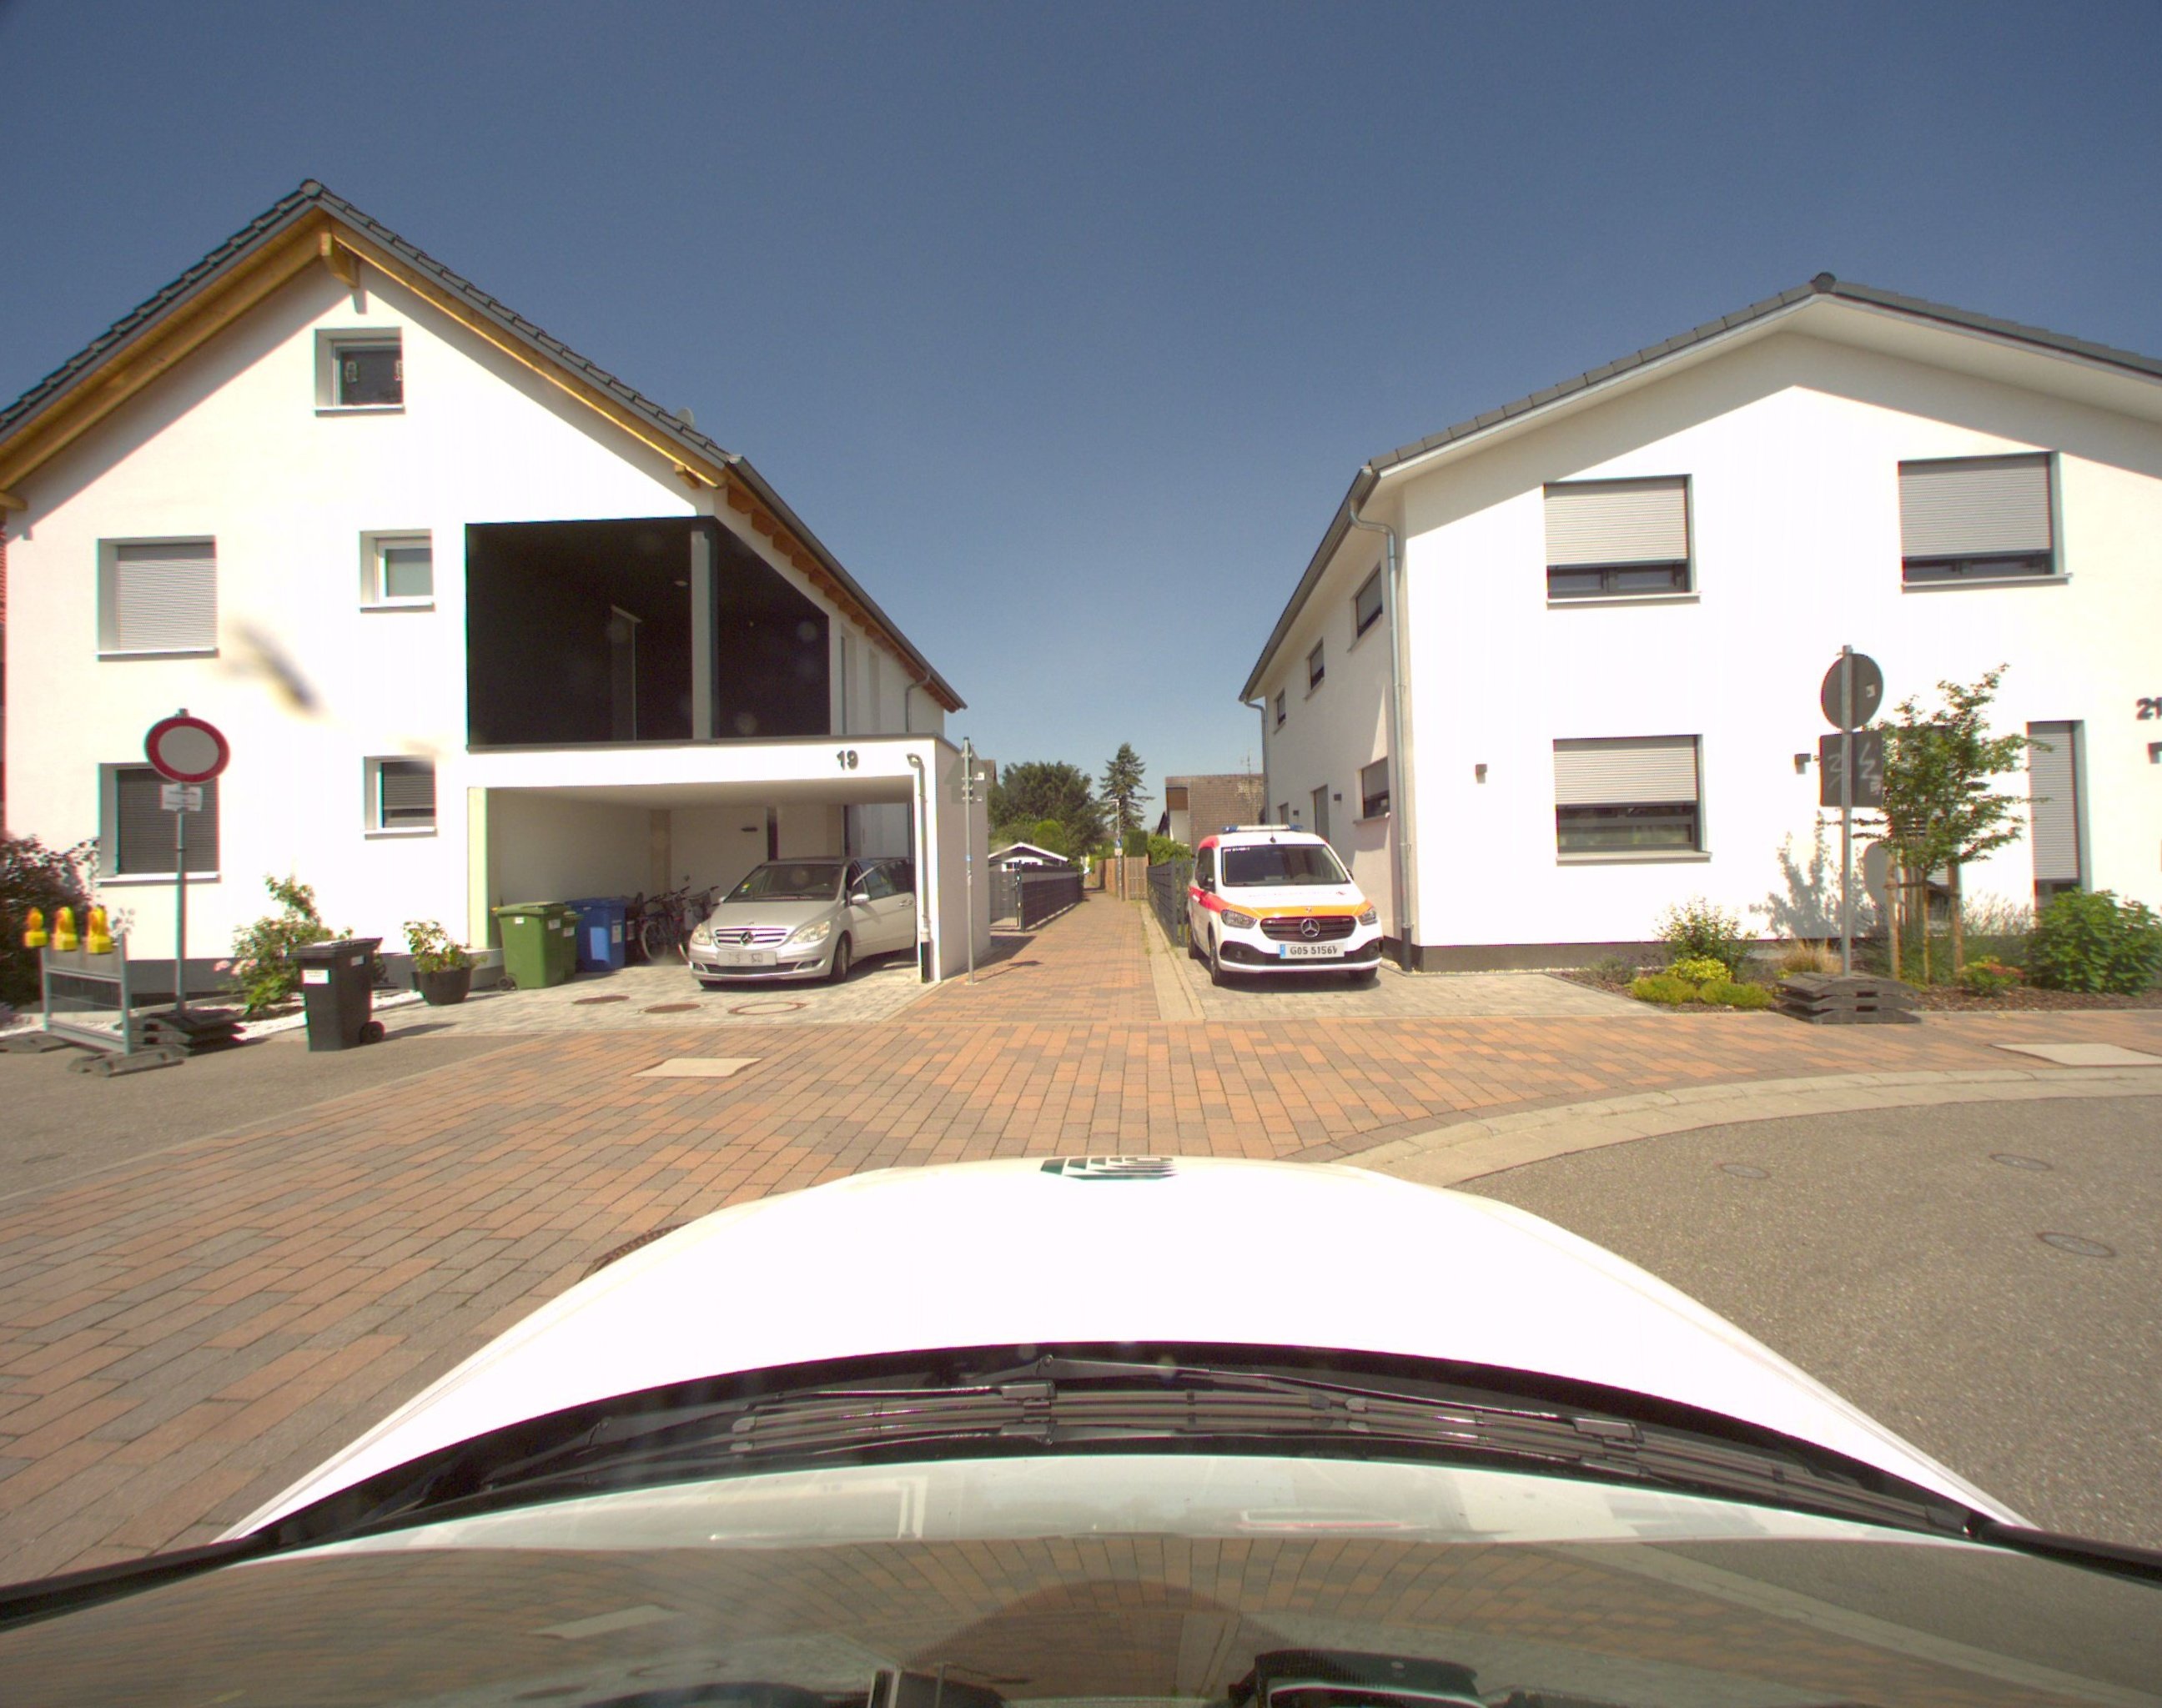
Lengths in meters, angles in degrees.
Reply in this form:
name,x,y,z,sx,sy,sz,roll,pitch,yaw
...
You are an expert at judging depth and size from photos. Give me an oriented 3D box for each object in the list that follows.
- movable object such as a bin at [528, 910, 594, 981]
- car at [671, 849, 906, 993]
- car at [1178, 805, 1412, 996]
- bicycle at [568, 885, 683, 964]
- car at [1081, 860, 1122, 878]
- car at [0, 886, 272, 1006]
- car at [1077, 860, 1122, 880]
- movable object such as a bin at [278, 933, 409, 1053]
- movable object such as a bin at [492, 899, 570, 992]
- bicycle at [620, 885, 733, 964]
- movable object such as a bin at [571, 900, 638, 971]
name,x,y,z,sx,sy,sz,roll,pitch,yaw
movable object such as a bin,-6.990,1.219,10.962,0.558,0.905,0.500,-1,-1,0
car,-3.752,0.797,11.269,1.734,1.562,4.164,-2,-1,0
car,2.425,0.505,10.550,1.924,1.875,4.754,-1,-1,2
bicycle,-7.433,1.116,13.416,0.775,1.127,2.130,-1,-1,-3
car,2.161,1.523,84.554,4.131,1.717,1.906,-2,-1,2
car,-14.172,1.220,11.304,1.743,1.380,4.062,-2,-1,2
car,1.742,1.462,75.863,4.131,1.717,1.906,-2,-1,2
movable object such as a bin,-6.486,1.203,7.193,0.561,0.937,0.618,-2,0,0
movable object such as a bin,-6.988,1.150,10.368,0.598,1.092,0.500,-3,-1,0
bicycle,-6.551,1.106,13.339,0.726,1.127,2.134,-1,-1,2
movable object such as a bin,-6.956,1.175,11.900,0.672,0.987,0.500,-1,-1,0
